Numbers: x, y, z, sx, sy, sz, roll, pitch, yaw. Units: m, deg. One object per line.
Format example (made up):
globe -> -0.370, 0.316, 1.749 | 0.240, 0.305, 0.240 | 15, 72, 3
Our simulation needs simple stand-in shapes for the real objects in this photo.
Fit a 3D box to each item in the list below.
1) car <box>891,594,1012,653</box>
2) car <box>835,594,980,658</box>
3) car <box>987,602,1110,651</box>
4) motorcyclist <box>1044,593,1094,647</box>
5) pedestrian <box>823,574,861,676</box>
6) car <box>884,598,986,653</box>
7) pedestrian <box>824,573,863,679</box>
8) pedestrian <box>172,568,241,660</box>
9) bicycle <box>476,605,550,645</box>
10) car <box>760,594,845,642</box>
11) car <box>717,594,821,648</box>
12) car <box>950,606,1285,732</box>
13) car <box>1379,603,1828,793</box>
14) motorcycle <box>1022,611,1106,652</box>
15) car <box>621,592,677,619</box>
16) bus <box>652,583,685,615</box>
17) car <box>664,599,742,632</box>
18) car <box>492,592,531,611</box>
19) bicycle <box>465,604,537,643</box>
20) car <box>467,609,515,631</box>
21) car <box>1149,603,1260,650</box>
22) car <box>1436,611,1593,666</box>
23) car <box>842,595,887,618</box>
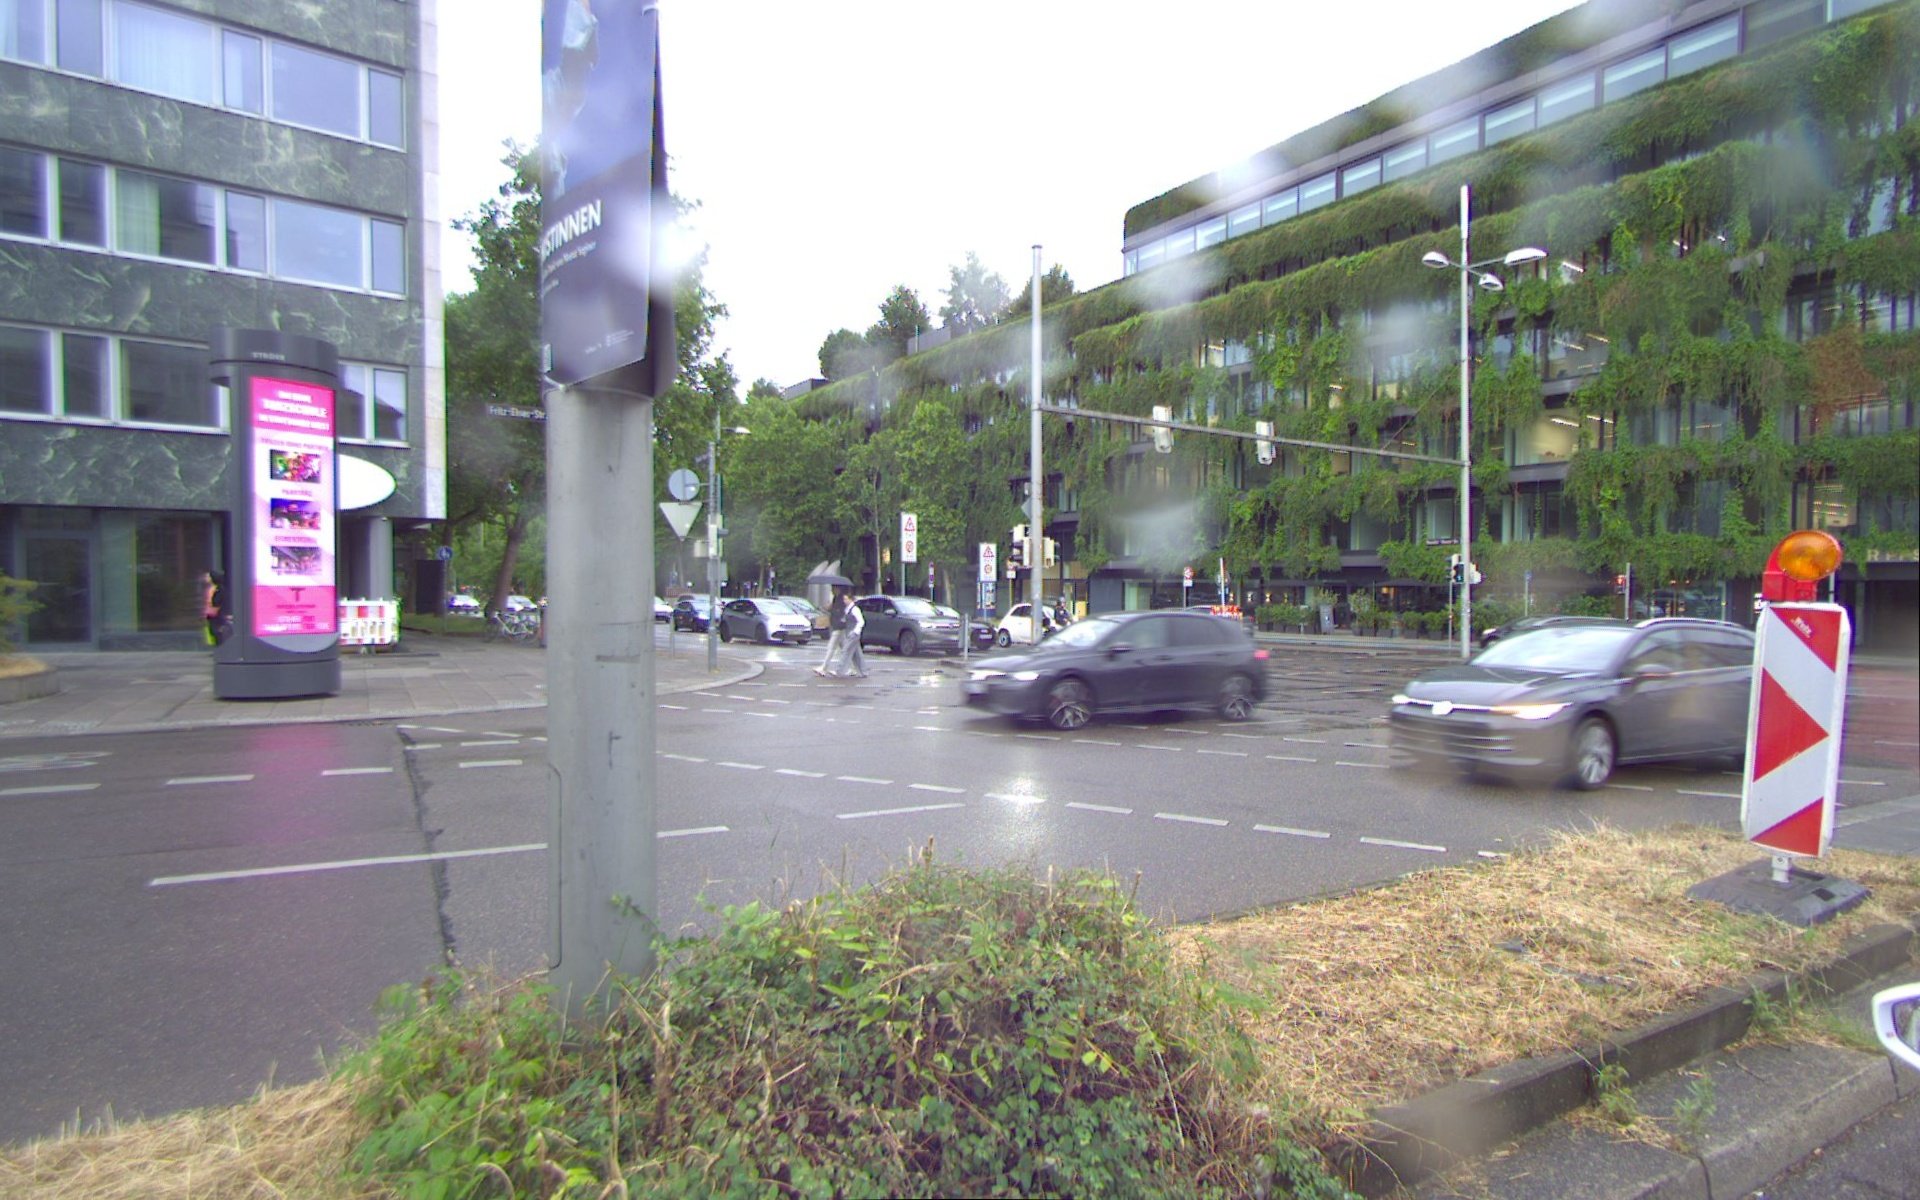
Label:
car -> -0.346, 0.707, 32.502 | 1.981, 1.773, 3.958 | 1, 0, -37
car -> -1.596, 0.699, 29.164 | 1.984, 1.709, 4.314 | 1, 0, -41
car -> 2.883, 0.854, 33.470 | 1.981, 1.495, 3.958 | 1, 0, -37
motorcyclist -> 3.144, 0.579, 28.997 | 1.153, 1.492, 0.832 | 2, 0, 40
pedestrian -> -2.398, 0.506, 20.433 | 0.715, 2.040, 0.598 | 1, 0, -10
car -> -1.000, 0.911, 37.768 | 1.978, 1.923, 4.139 | 1, 0, -33
pedestrian -> -2.300, 0.509, 19.812 | 0.715, 2.040, 0.598 | 1, 0, -10
pedestrian -> -14.888, 0.275, 19.870 | 1.022, 1.757, 1.195 | 2, 0, -37
bicycle -> -12.288, 0.677, 27.638 | 1.765, 1.066, 0.581 | 1, 0, -35
car -> -6.282, 0.686, 39.674 | 1.841, 1.791, 4.139 | 1, 0, -32
car -> -6.685, 0.692, 34.914 | 1.982, 1.773, 3.956 | 1, 0, -38
car -> 2.103, 0.844, 13.350 | 4.155, 1.450, 1.683 | 1, 0, -24
car -> 6.300, 0.820, 9.784 | 4.232, 1.530, 1.682 | 1, 0, -25
motorcycle -> 2.995, 0.892, 29.120 | 2.331, 1.068, 0.830 | 2, 0, 41
car -> -18.673, 0.333, 60.213 | 1.918, 1.544, 4.057 | 1, 0, -38
bus -> -32.009, -0.148, 110.238 | 1.783, 3.385, 5.922 | 2, 0, -34
car -> -11.799, 0.686, 45.926 | 1.982, 1.389, 4.131 | 1, 0, -37
car -> -37.316, 0.114, 83.460 | 1.919, 1.544, 4.054 | 1, 0, -40
bicycle -> -12.966, 0.662, 28.416 | 1.765, 1.066, 0.581 | 1, 0, -35
car -> -30.752, 1.285, 65.781 | 1.982, 1.389, 4.131 | 1, 0, -37
car -> 9.759, 1.035, 40.327 | 1.840, 1.692, 3.946 | 2, 0, -45
car -> 19.145, 1.280, 34.807 | 1.986, 1.660, 4.362 | 2, 0, -43
car -> -7.356, 0.491, 77.251 | 1.783, 1.588, 3.962 | 2, 0, -34
